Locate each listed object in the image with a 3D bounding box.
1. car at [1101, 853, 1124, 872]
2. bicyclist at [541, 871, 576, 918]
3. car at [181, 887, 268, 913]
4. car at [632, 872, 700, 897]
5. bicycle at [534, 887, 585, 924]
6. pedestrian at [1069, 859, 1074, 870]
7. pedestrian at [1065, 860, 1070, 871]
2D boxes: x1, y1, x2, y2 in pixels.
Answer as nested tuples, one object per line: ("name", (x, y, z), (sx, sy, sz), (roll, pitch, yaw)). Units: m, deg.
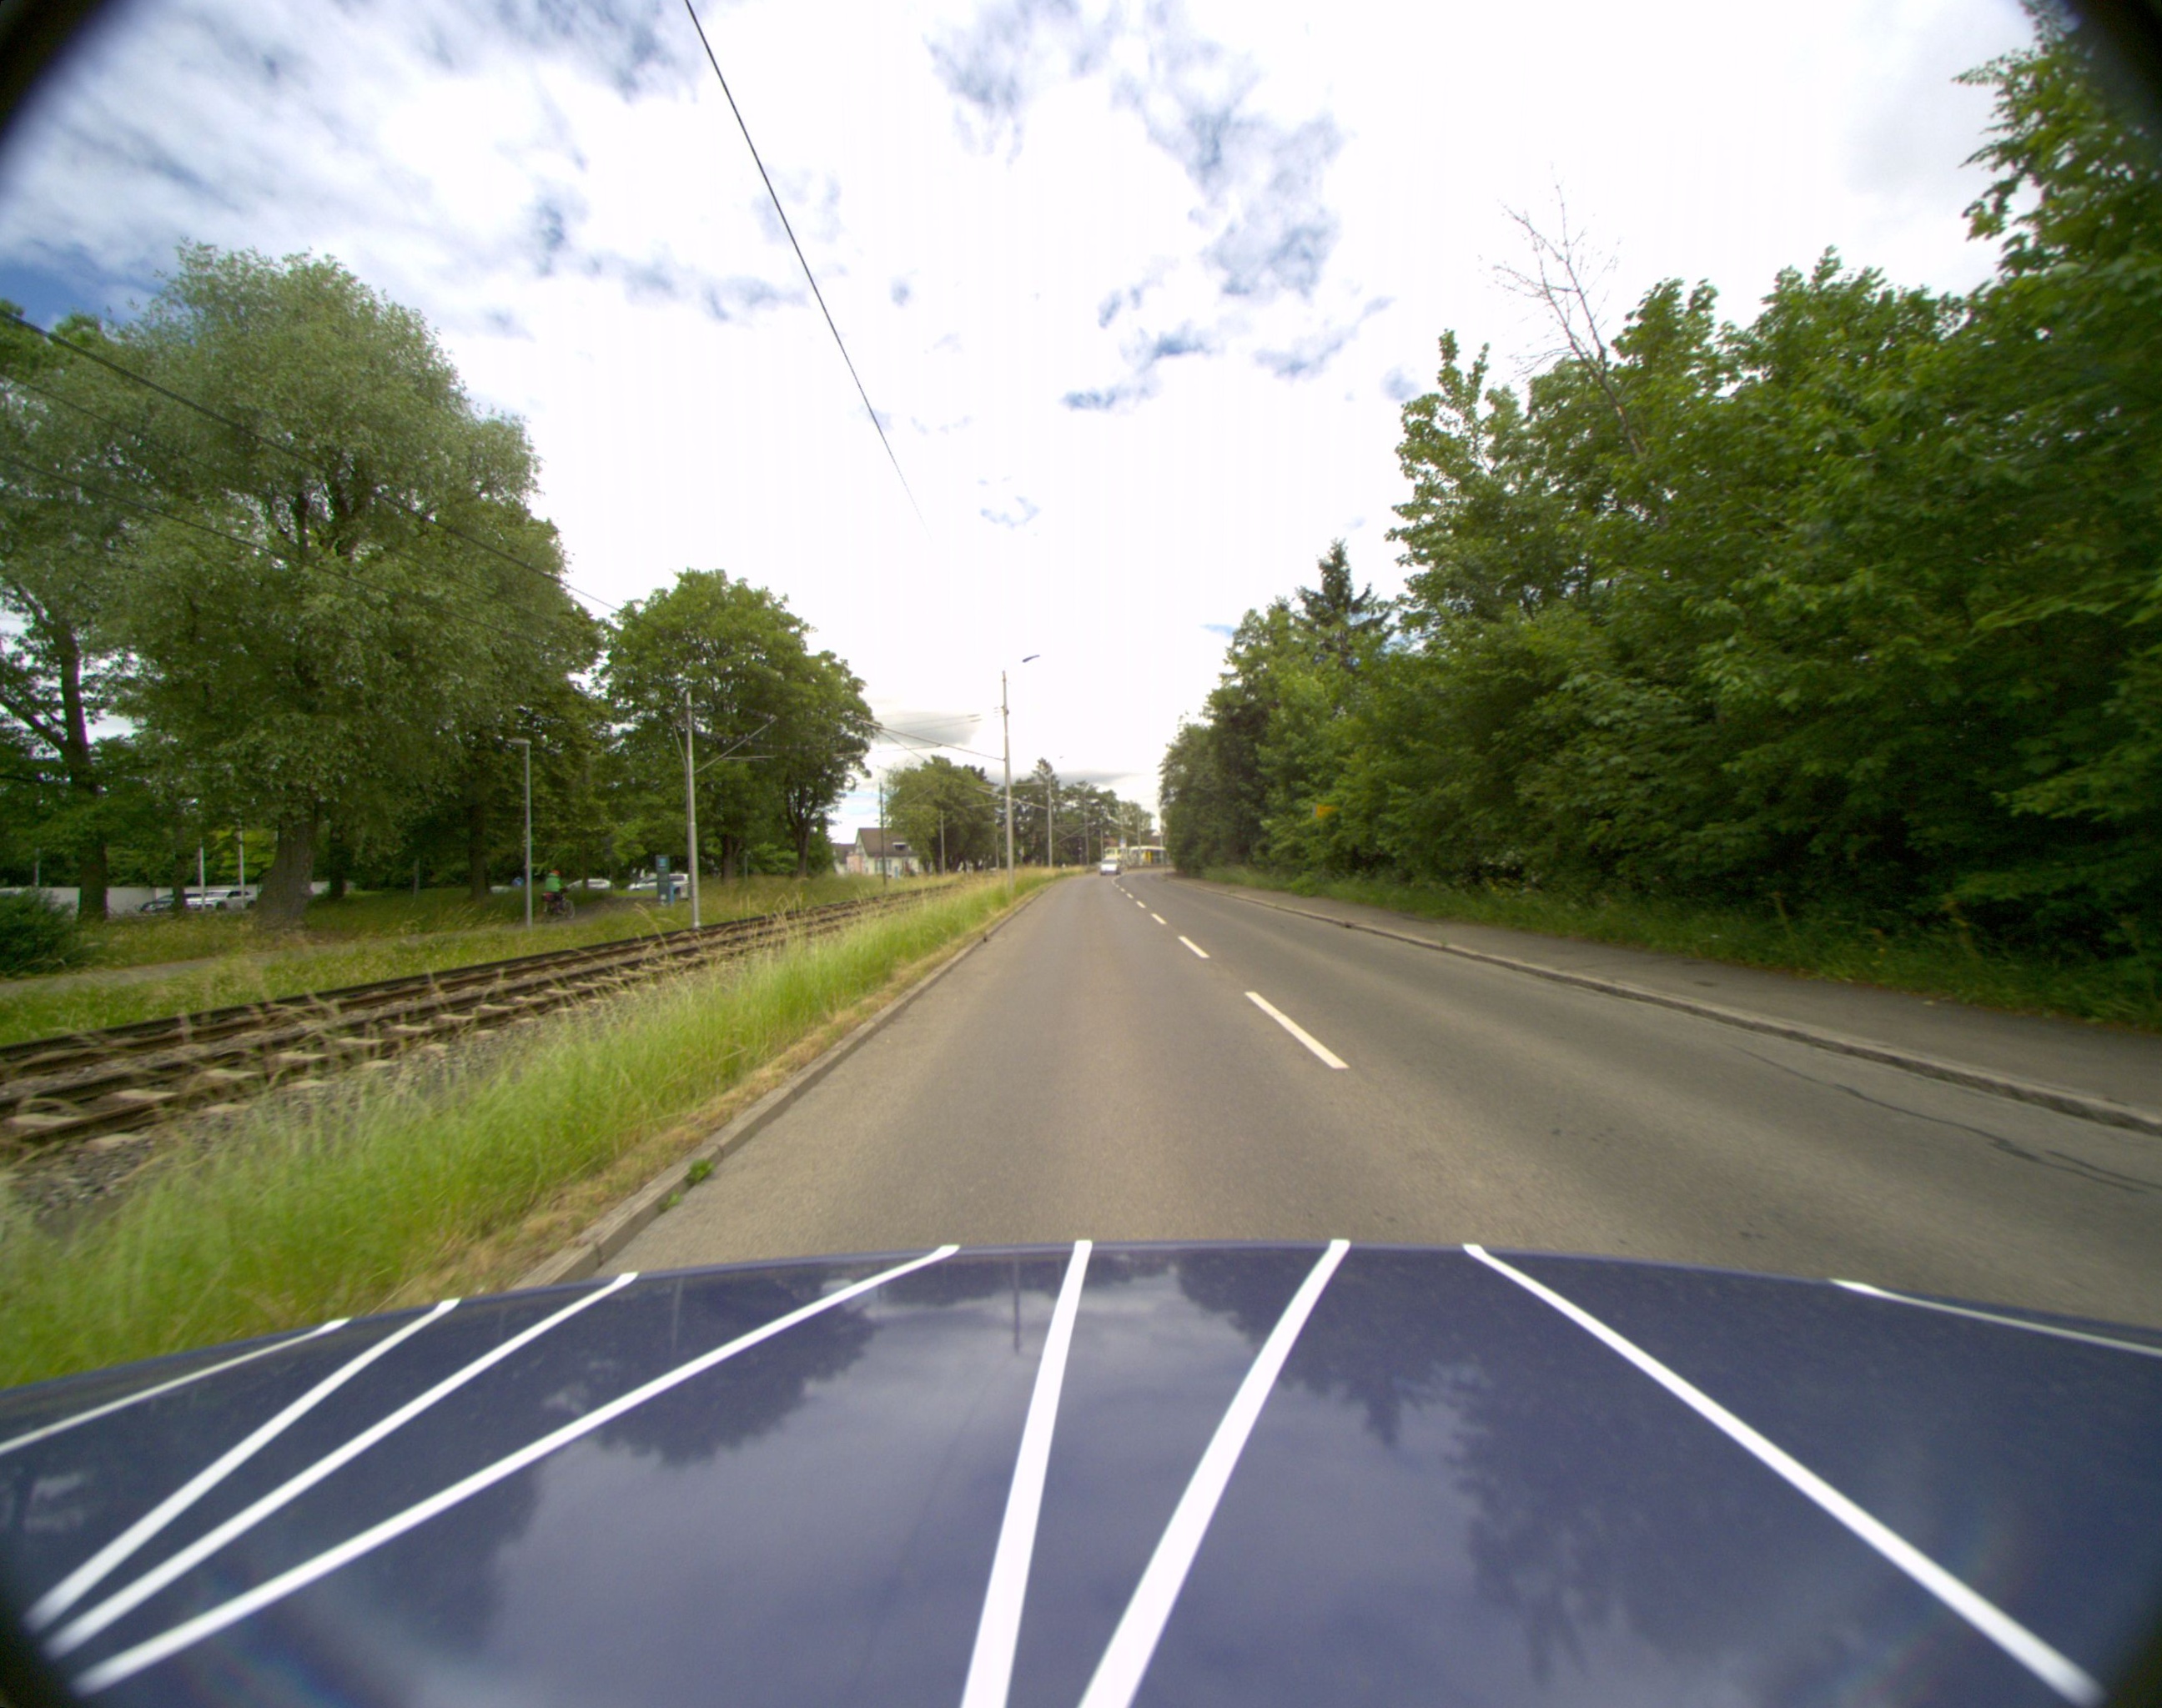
("car", (3.077, 0.831, 72.533), (1.733, 1.638, 4.229), (-3, -1, 7))
("bicyclist", (-19.268, 1.484, 28.025), (0.582, 1.686, 0.935), (-3, 0, -3))
("car", (-61.144, 3.248, 54.375), (1.980, 1.572, 4.458), (-2, 0, -16))
("car", (-34.629, 2.508, 63.516), (4.719, 1.850, 1.914), (-2, 0, -23))
("bicycle", (-19.250, 1.876, 28.093), (0.582, 1.239, 1.929), (-3, 0, -3))
("pedestrian", (-1.391, 1.596, 112.363), (0.493, 1.612, 0.791), (-3, 0, 16))
("pedestrian", (-1.937, 1.664, 112.515), (0.493, 1.552, 0.693), (-3, 0, 16))
